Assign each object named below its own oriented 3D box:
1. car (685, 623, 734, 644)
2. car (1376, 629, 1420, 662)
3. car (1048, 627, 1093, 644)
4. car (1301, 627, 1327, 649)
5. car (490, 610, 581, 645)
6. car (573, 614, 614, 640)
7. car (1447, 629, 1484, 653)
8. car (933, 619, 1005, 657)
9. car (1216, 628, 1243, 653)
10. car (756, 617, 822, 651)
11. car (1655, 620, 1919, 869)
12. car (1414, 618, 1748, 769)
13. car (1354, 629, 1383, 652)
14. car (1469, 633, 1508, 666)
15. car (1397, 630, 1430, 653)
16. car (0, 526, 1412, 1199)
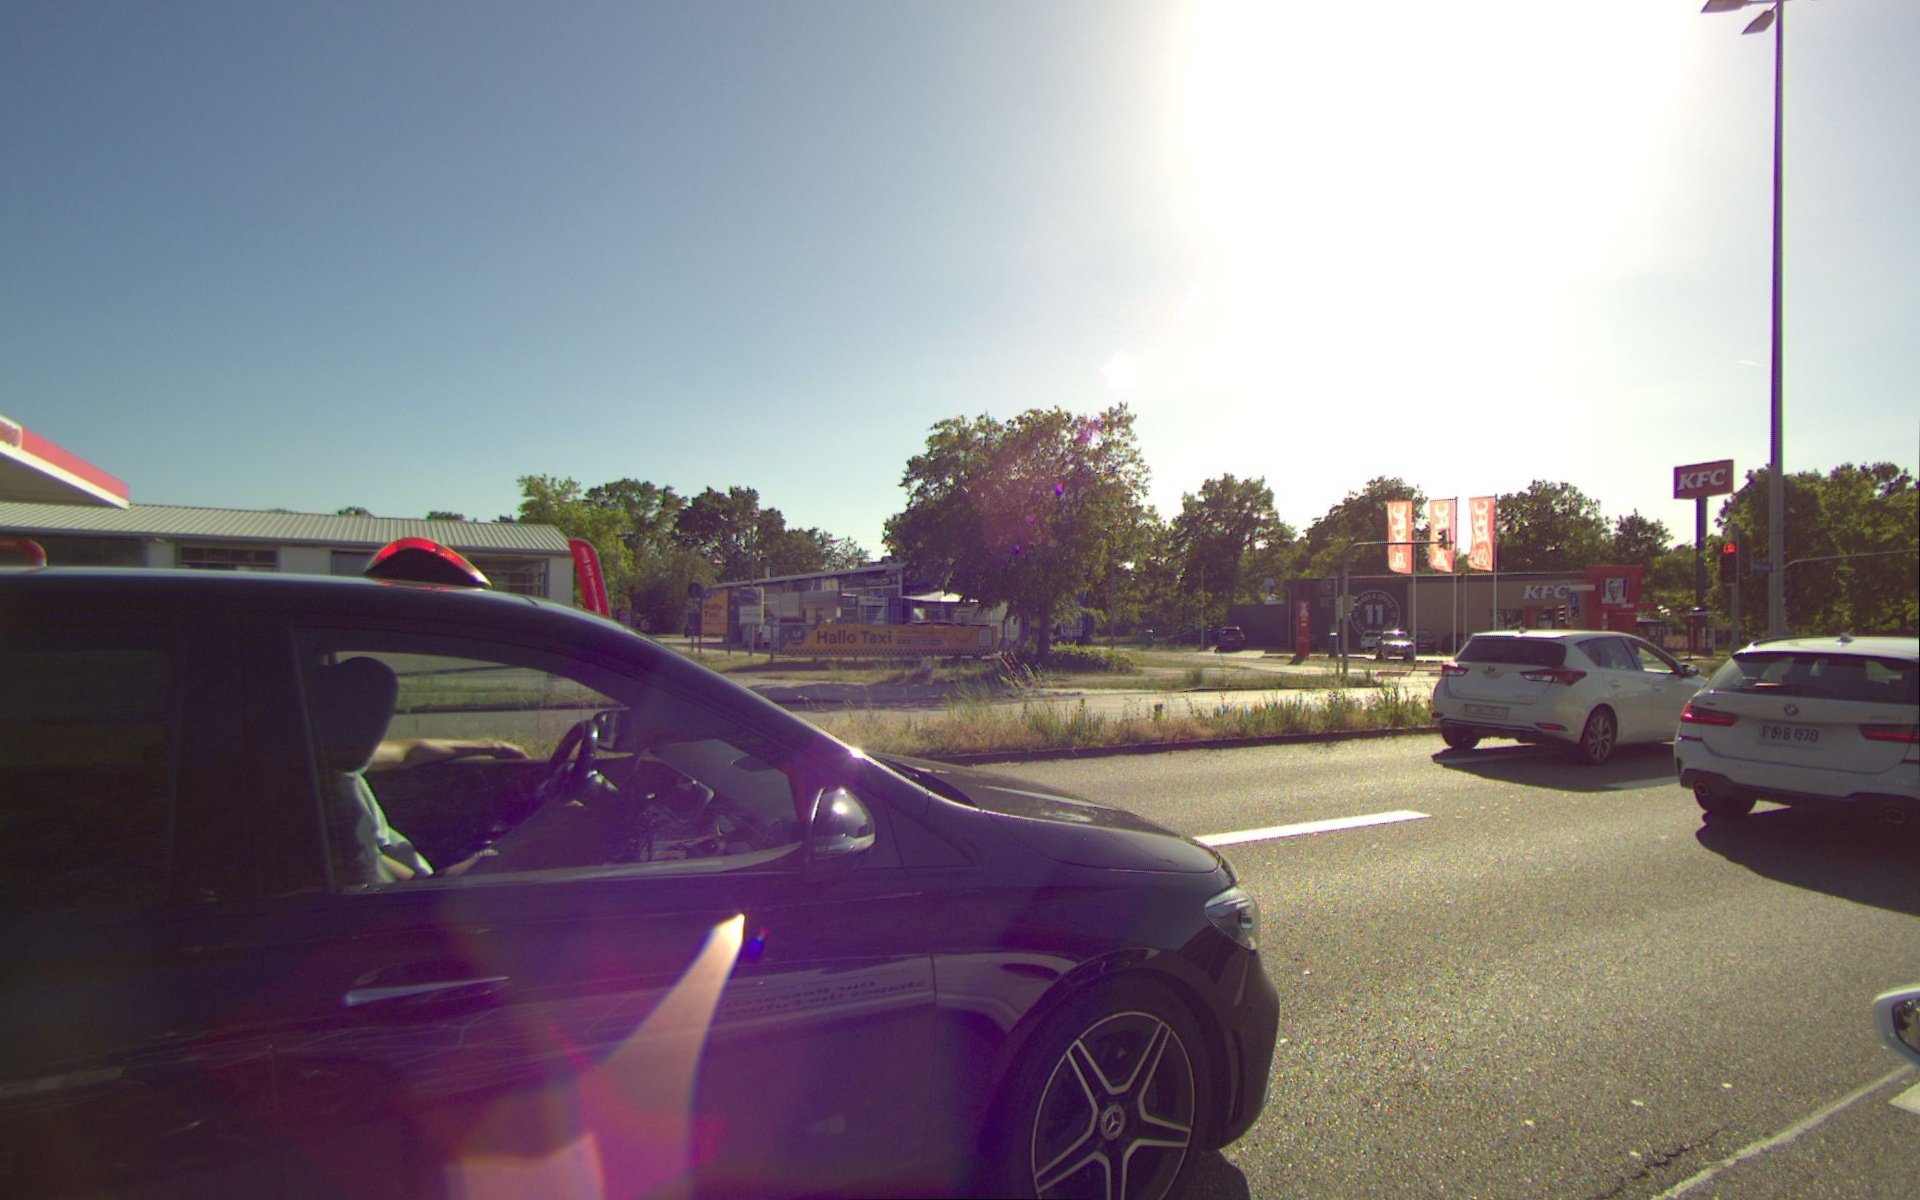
[{"bbox_3d":[-21.482,2.842,86.377,3.930,1.634,1.996,2,0,-11],"label":"car"},{"bbox_3d":[26.323,2.699,60.341,1.964,1.788,4.349,2,0,29],"label":"car"},{"bbox_3d":[10.025,3.187,91.280,3.864,1.481,1.663,0,-1,14],"label":"car"},{"bbox_3d":[25.619,2.738,72.687,1.629,1.491,3.919,2,0,18],"label":"car"},{"bbox_3d":[-20.354,1.323,48.200,3.946,1.536,1.772,2,0,-25],"label":"car"},{"bbox_3d":[-21.402,1.564,58.570,1.634,1.383,3.744,2,0,-29],"label":"car"},{"bbox_3d":[34.860,2.805,69.323,1.629,1.491,3.919,2,0,18],"label":"car"},{"bbox_3d":[0.387,1.799,48.364,1.839,1.613,3.974,2,0,-26],"label":"car"},{"bbox_3d":[19.841,2.985,73.915,1.629,1.695,3.945,2,0,18],"label":"car"},{"bbox_3d":[-8.884,1.724,51.917,1.979,1.584,3.964,2,0,-33],"label":"car"},{"bbox_3d":[7.571,0.997,7.953,4.353,1.510,1.776,2,0,-31],"label":"car"},{"bbox_3d":[7.598,1.047,12.191,4.150,1.510,1.750,2,0,-31],"label":"car"},{"bbox_3d":[29.273,2.865,72.043,1.629,1.491,3.919,2,0,18],"label":"car"},{"bbox_3d":[31.069,2.857,59.026,1.880,1.776,4.349,2,0,29],"label":"car"},{"bbox_3d":[31.906,2.888,70.772,1.629,1.491,3.919,2,0,18],"label":"car"},{"bbox_3d":[-1.125,0.693,2.245,4.353,1.510,1.750,2,-1,-31],"label":"car"}]
